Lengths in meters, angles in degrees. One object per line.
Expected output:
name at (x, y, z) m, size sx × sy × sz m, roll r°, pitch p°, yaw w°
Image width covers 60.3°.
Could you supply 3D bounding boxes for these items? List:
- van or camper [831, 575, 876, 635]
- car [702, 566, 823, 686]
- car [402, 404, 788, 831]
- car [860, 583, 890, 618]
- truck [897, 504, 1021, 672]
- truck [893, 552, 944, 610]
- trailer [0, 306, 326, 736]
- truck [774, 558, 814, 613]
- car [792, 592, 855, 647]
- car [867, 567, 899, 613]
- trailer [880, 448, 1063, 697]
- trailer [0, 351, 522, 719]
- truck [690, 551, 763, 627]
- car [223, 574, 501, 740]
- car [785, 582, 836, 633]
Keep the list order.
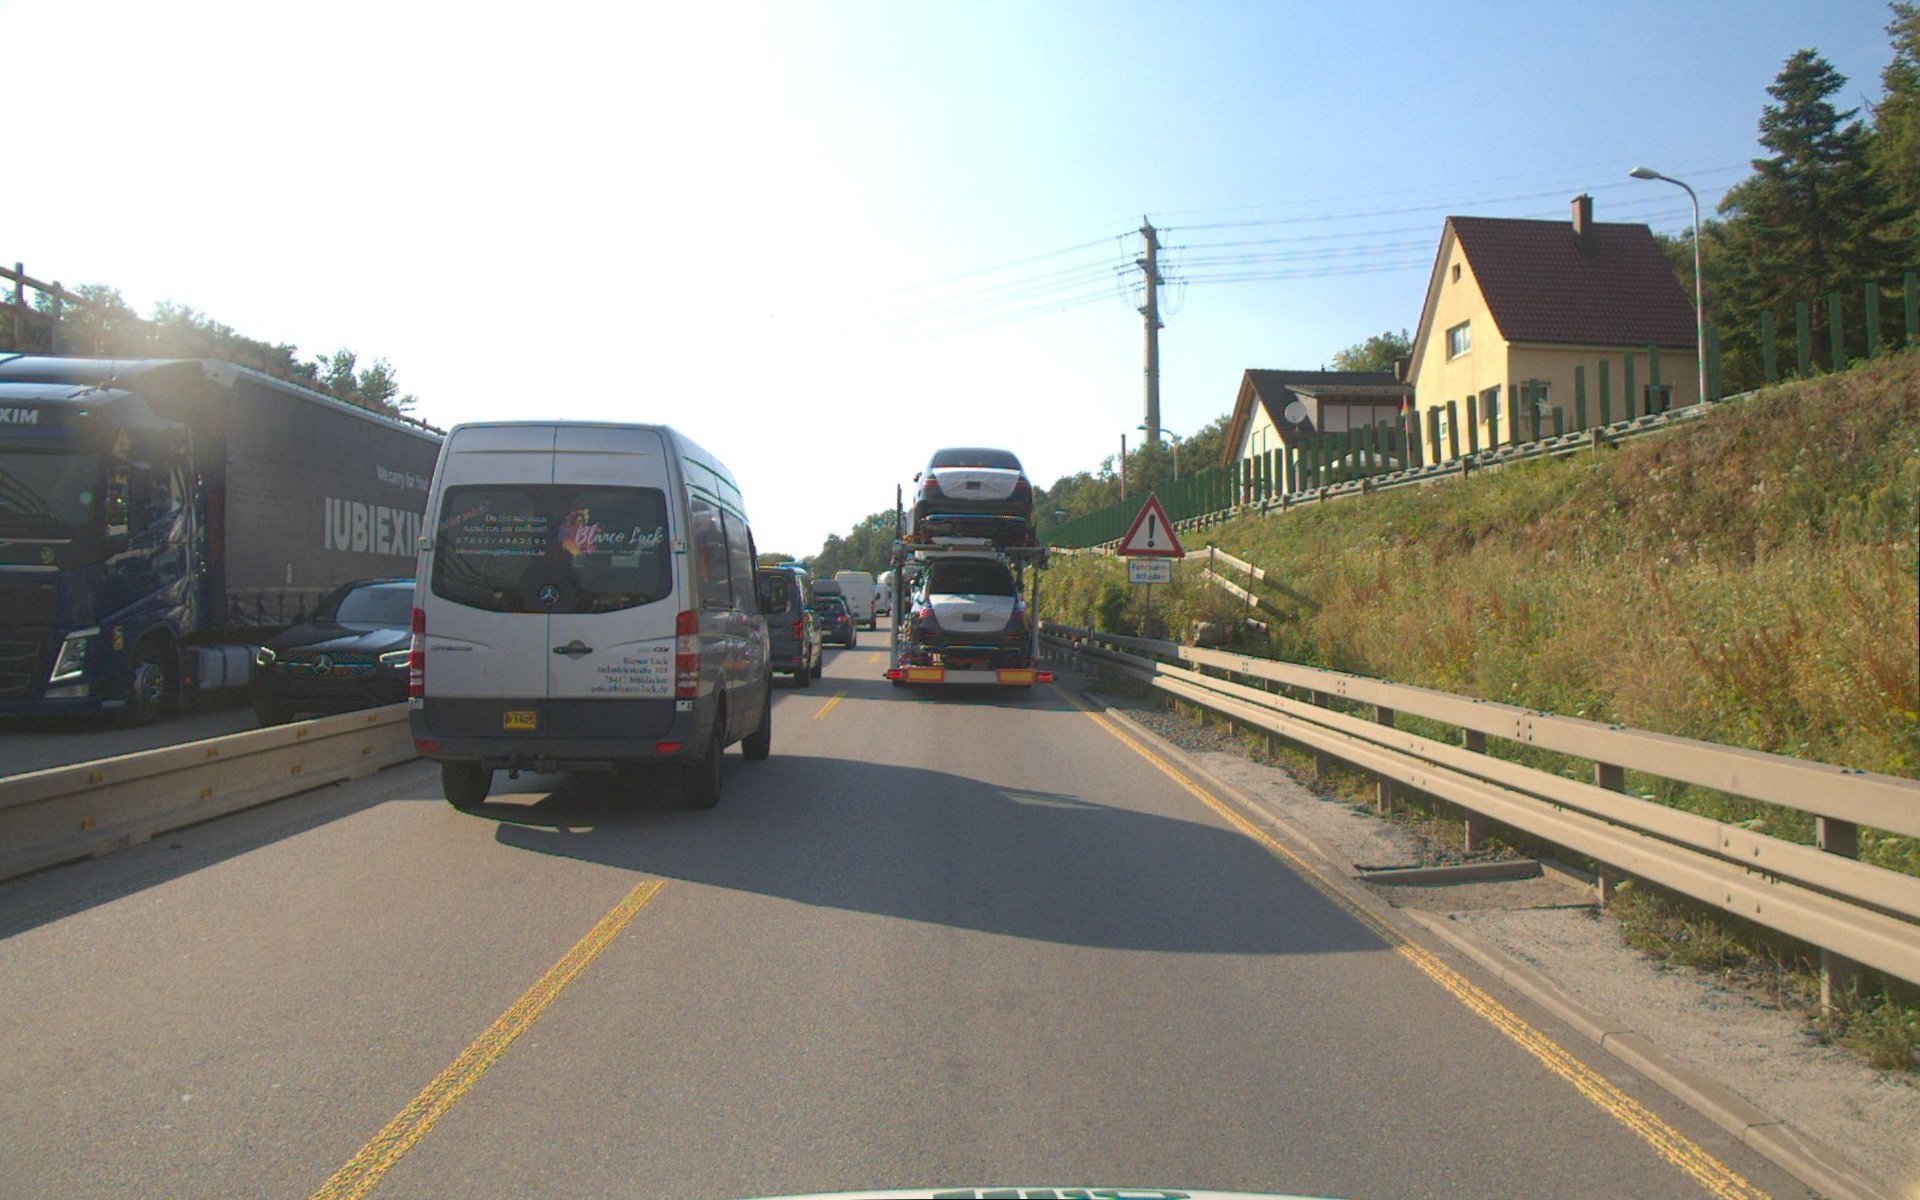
van or camper at (-4.876, 0.251, 76.404) m, size 1.929 × 2.637 × 5.038 m, roll 1°, pitch -1°, yaw -3°
car at (-3.390, 0.462, 29.024) m, size 1.772 × 1.937 × 3.997 m, roll 1°, pitch -1°, yaw -3°
car at (-2.605, 0.096, 13.279) m, size 1.953 × 2.694 × 5.529 m, roll 0°, pitch 0°, yaw -1°
car at (-5.434, 0.039, 106.066) m, size 1.848 × 2.136 × 3.764 m, roll 1°, pitch 0°, yaw -2°
truck at (-0.072, -0.219, 39.340) m, size 2.628 × 3.597 × 7.192 m, roll 1°, pitch -1°, yaw -1°
truck at (-3.478, -1.603, 141.526) m, size 3.981 × 4.761 × 10.592 m, roll 0°, pitch 0°, yaw 1°
trailer at (-9.869, -0.817, 19.269) m, size 2.708 × 4.213 × 5.975 m, roll 1°, pitch 0°, yaw -1°
truck at (-13.435, -1.147, 134.608) m, size 2.572 × 4.184 × 9.622 m, roll -2°, pitch 0°, yaw -3°
car at (-4.059, 0.555, 49.694) m, size 1.691 × 1.549 × 3.971 m, roll 1°, pitch 0°, yaw -2°
car at (-8.926, -1.156, 190.333) m, size 3.377 × 5.123 × 9.645 m, roll 1°, pitch 0°, yaw -4°
trailer at (0.054, -0.318, 31.774) m, size 2.628 × 3.597 × 15.284 m, roll 1°, pitch -1°, yaw -1°
trailer at (-10.027, -0.816, 26.152) m, size 2.708 × 4.213 × 14.022 m, roll 1°, pitch 0°, yaw -1°
truck at (-11.595, -0.482, 82.780) m, size 2.660 × 3.484 × 8.137 m, roll -2°, pitch -1°, yaw -2°
car at (-6.735, 0.612, 19.187) m, size 1.607 × 1.674 × 4.687 m, roll 1°, pitch -1°, yaw -2°
car at (-7.718, 0.395, 85.725) m, size 2.422 × 2.578 × 3.998 m, roll 0°, pitch 0°, yaw -2°
